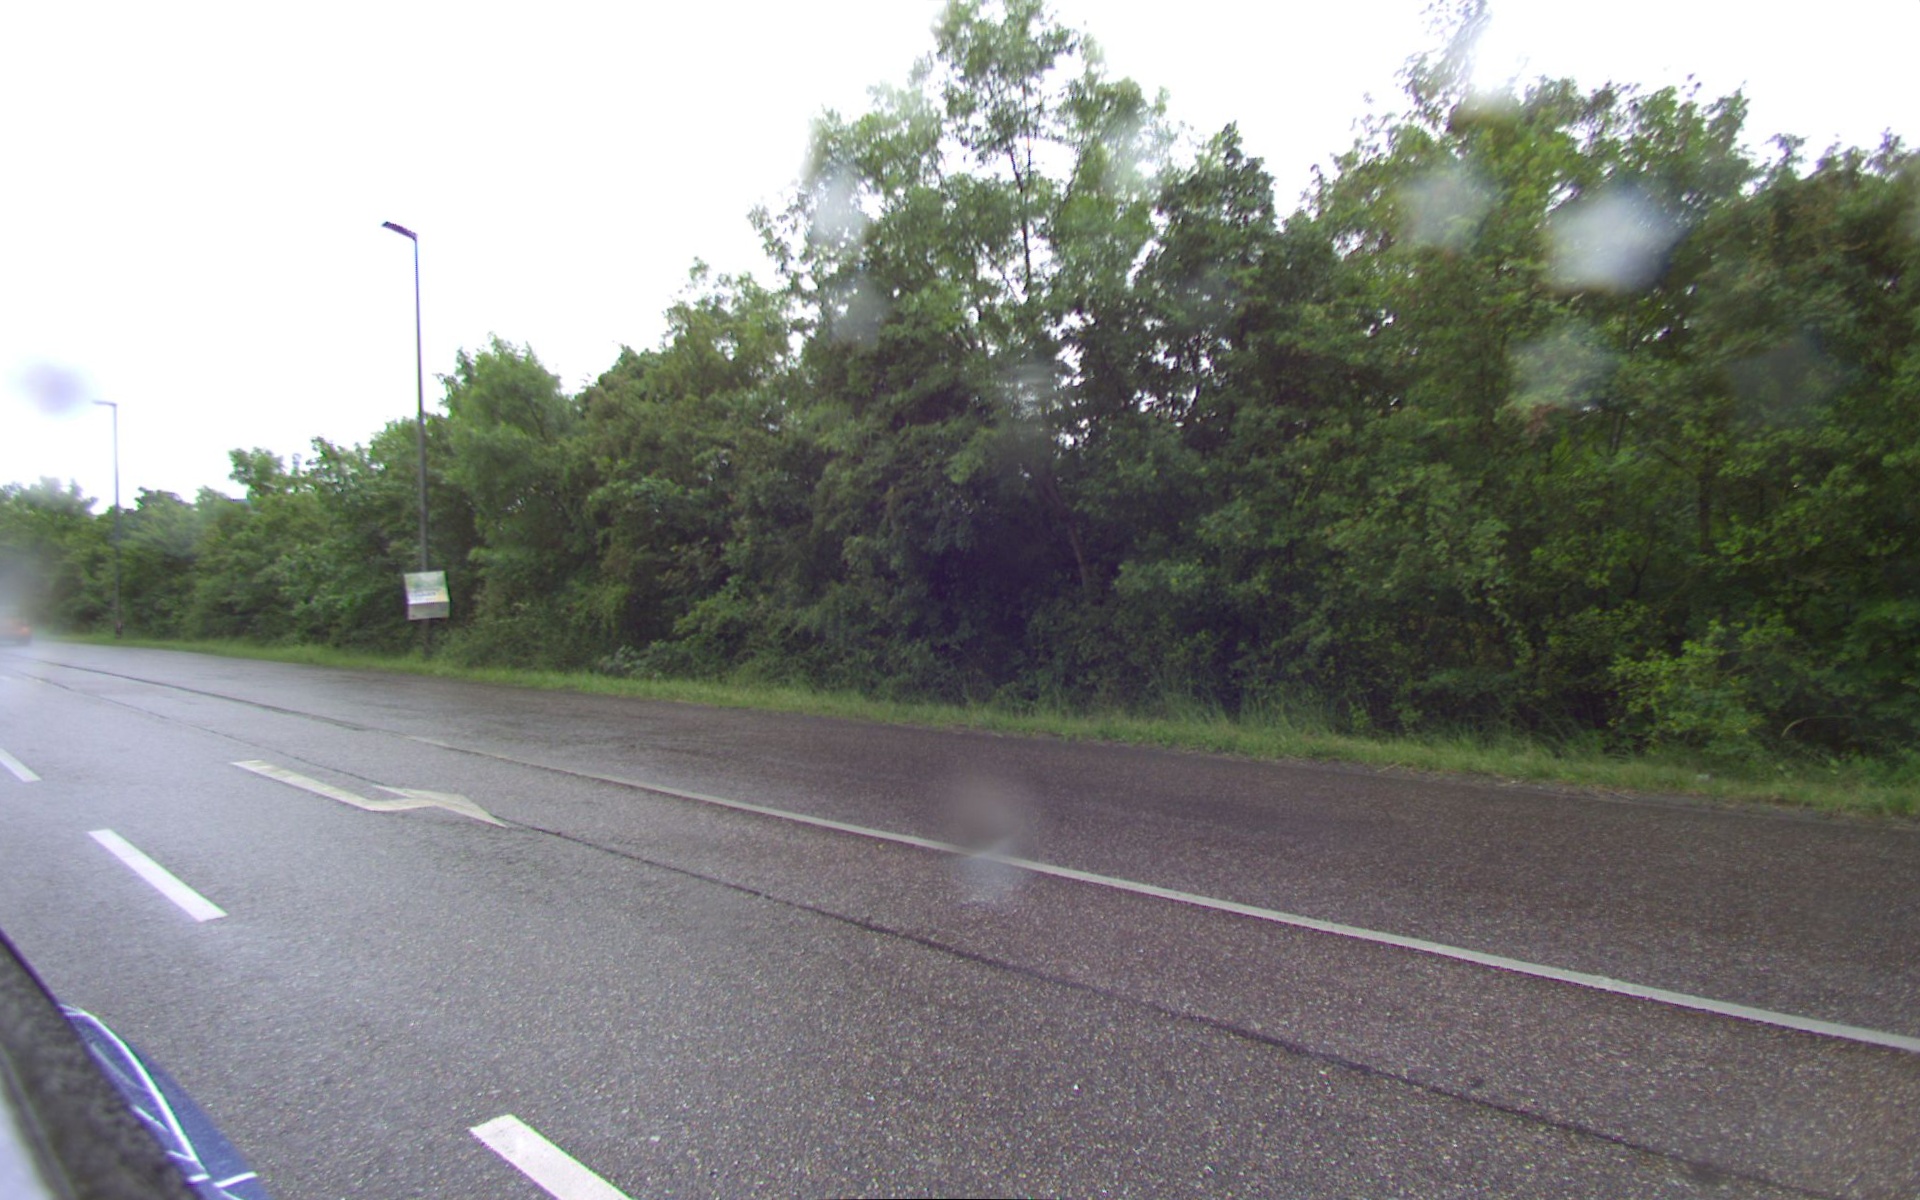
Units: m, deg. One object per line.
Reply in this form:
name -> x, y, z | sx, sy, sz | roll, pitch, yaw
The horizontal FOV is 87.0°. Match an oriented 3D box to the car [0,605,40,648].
car -> -38.207, 1.023, 40.248 | 3.998, 1.597, 1.973 | 0, 0, 41
